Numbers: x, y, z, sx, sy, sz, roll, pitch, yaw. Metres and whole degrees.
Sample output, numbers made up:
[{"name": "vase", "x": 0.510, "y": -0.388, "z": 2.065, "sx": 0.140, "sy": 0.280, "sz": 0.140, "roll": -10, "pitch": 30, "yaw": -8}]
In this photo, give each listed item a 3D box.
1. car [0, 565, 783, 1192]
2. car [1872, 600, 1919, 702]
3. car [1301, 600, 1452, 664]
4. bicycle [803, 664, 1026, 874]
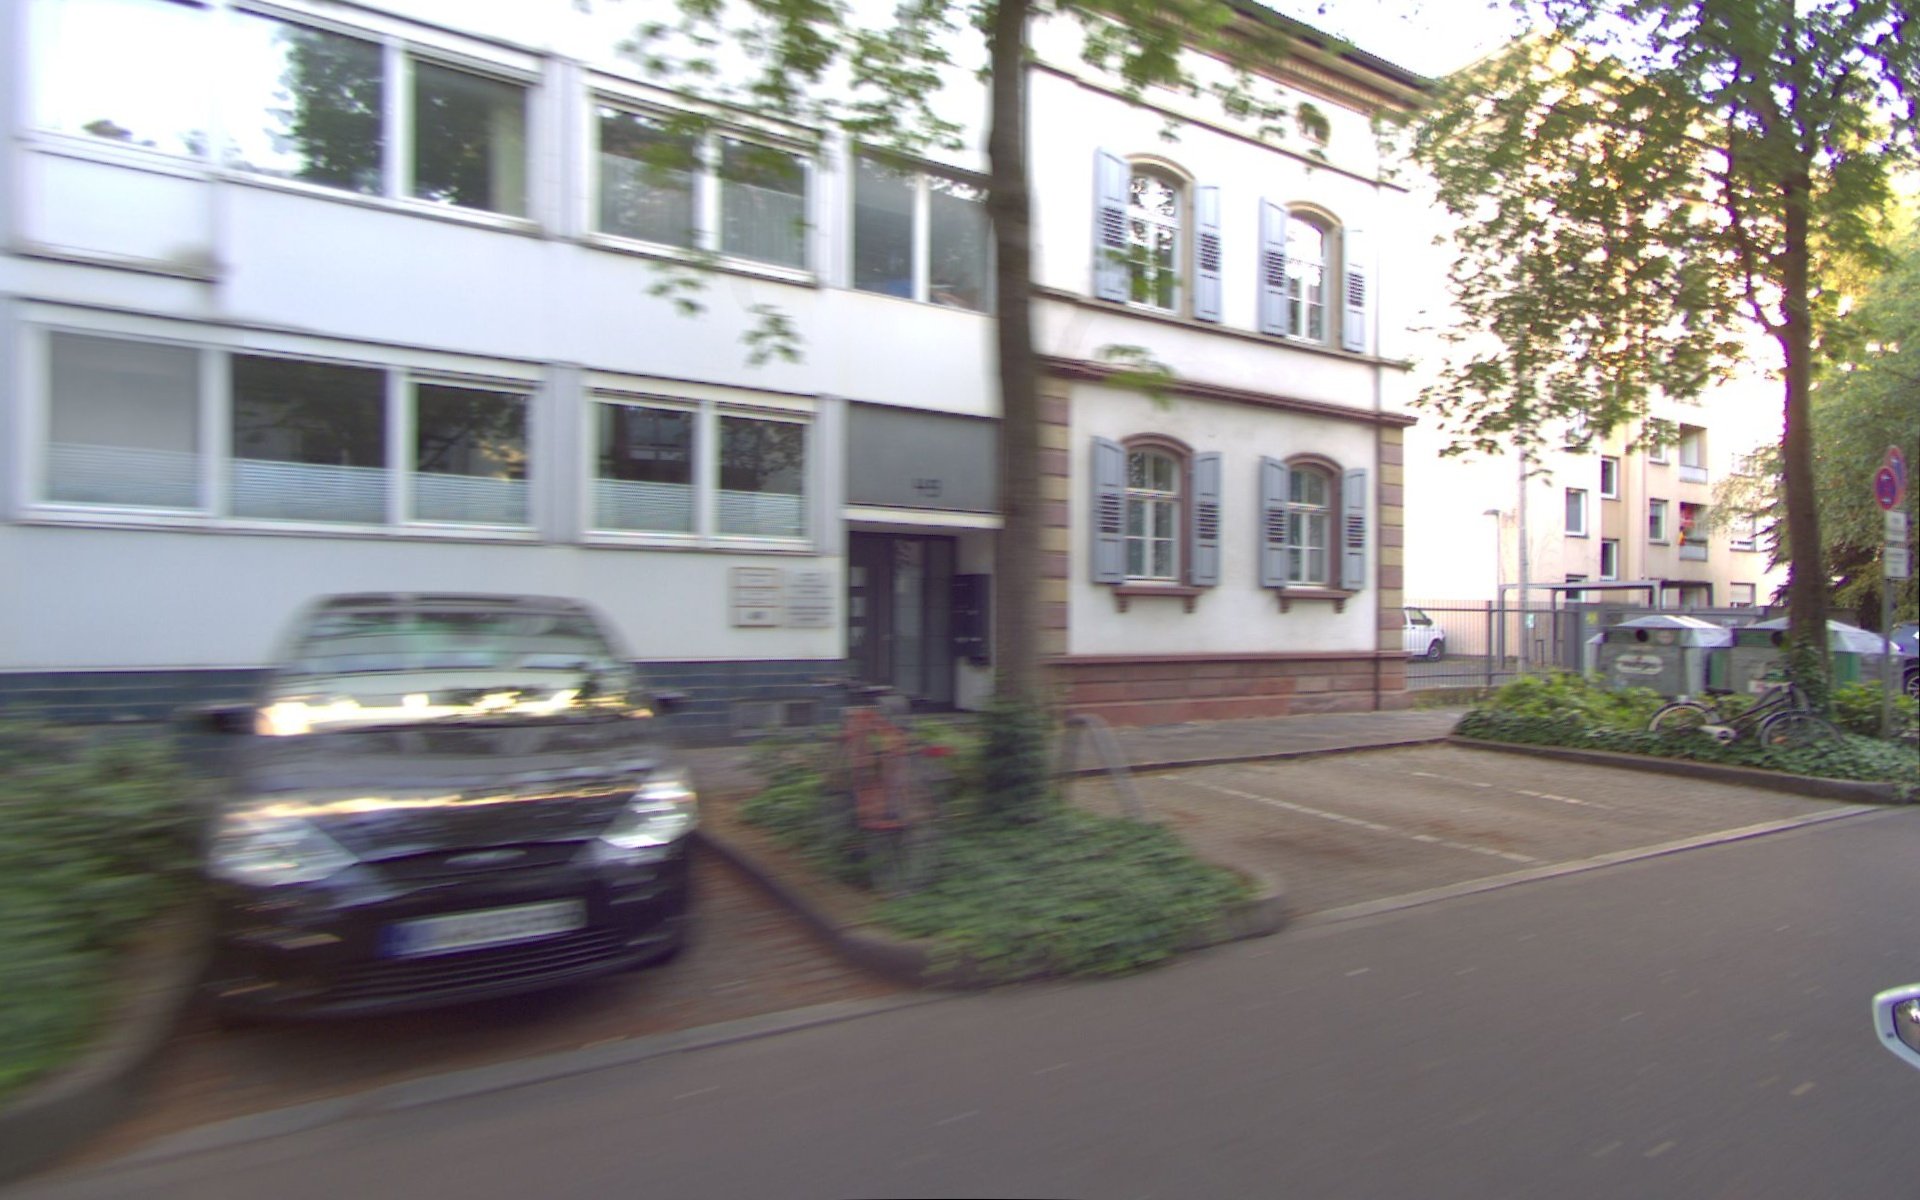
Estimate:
[{"name": "car", "x": -2.711, "y": 0.765, "z": 5.284, "sx": 2.133, "sy": 1.643, "sz": 4.833, "roll": 1, "pitch": -1, "yaw": -28}, {"name": "car", "x": 20.290, "y": 1.003, "z": 18.741, "sx": 1.977, "sy": 1.981, "sz": 4.483, "roll": 1, "pitch": -1, "yaw": -30}, {"name": "car", "x": 13.543, "y": 1.015, "z": 32.617, "sx": 4.643, "sy": 1.948, "sz": 2.044, "roll": 1, "pitch": -1, "yaw": -28}, {"name": "bicycle", "x": -0.300, "y": 0.793, "z": 5.237, "sx": 0.605, "sy": 0.841, "sz": 1.548, "roll": 1, "pitch": -1, "yaw": -25}]
